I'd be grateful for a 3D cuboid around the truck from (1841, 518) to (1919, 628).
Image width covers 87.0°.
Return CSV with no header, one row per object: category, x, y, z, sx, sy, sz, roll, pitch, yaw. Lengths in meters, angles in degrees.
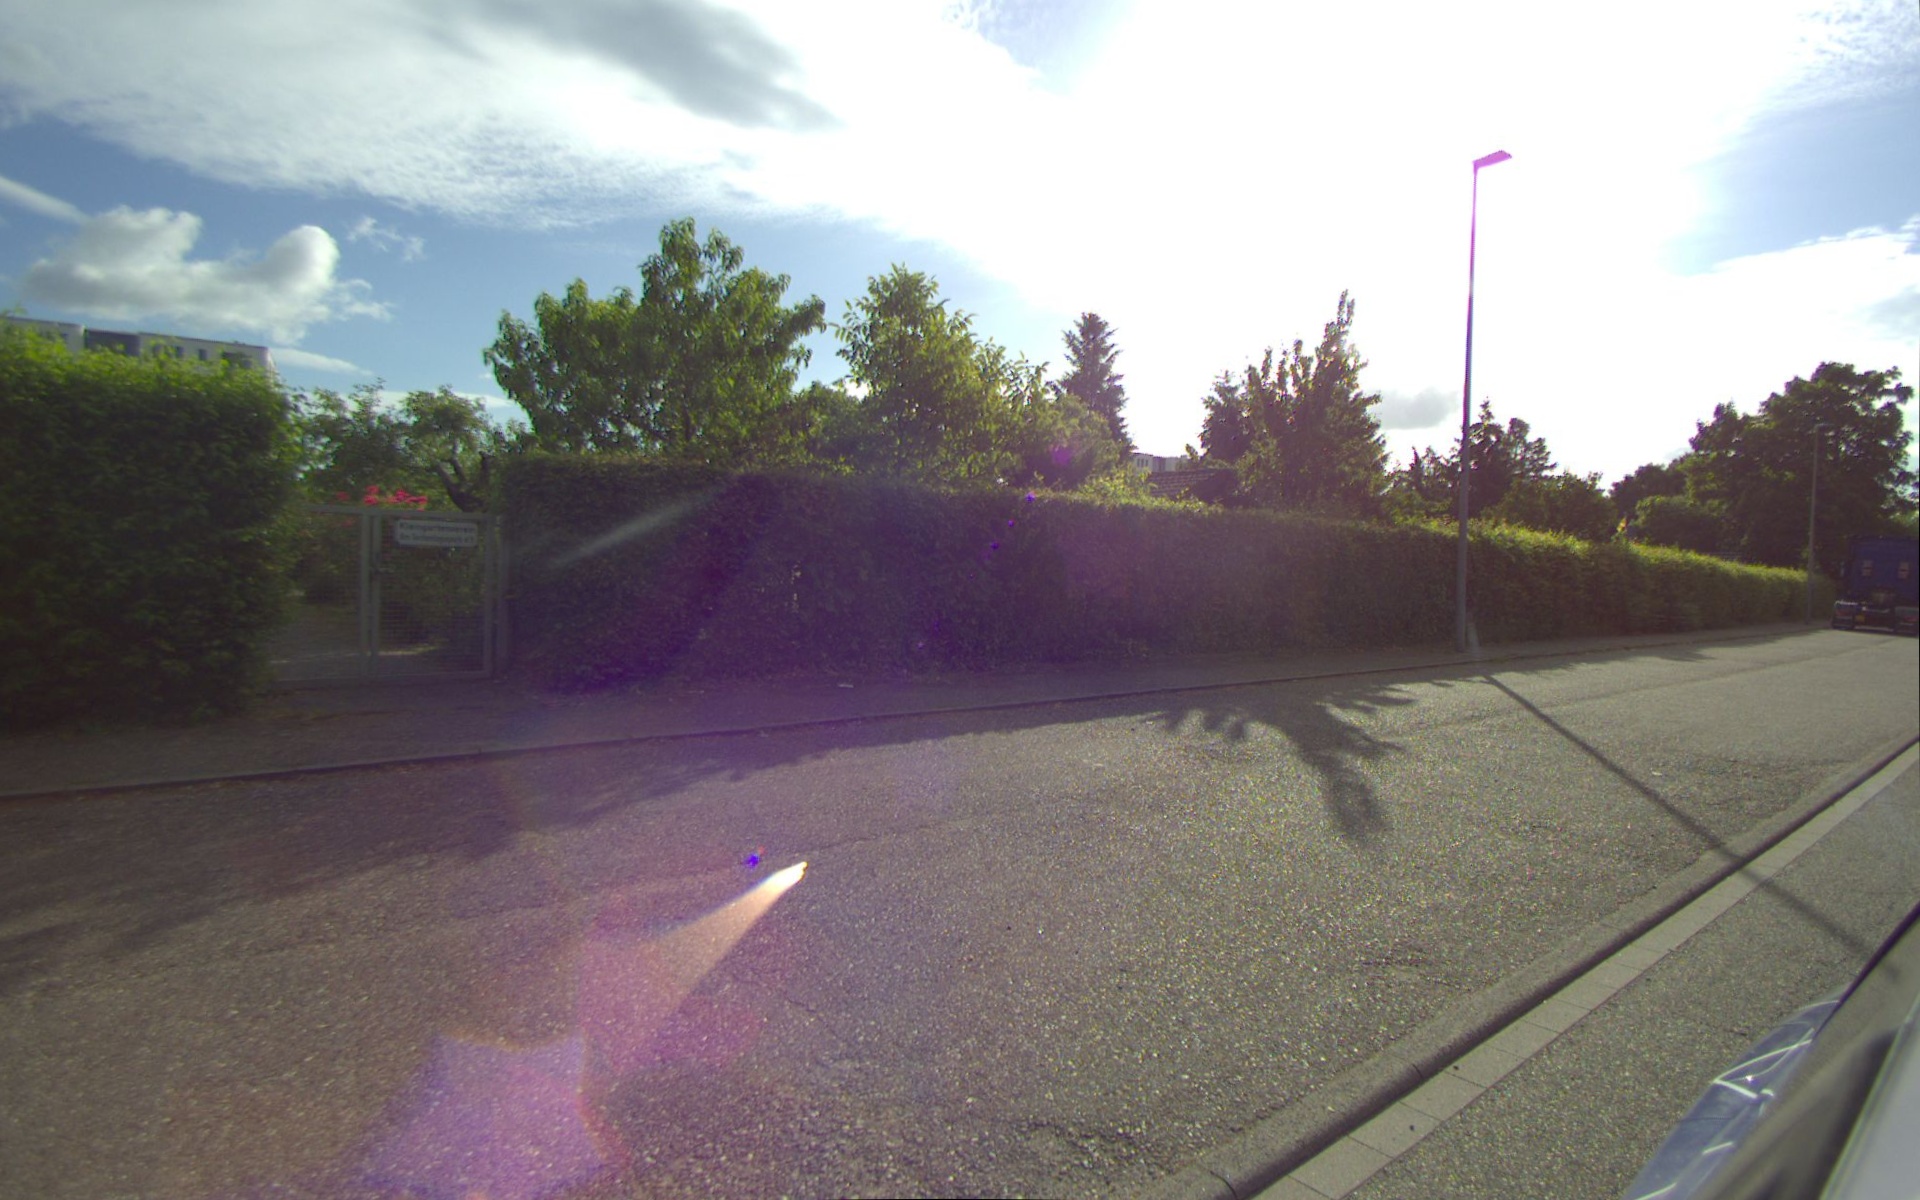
truck,37.641,-1.027,40.694,2.599,4.004,6.182,9,6,44
